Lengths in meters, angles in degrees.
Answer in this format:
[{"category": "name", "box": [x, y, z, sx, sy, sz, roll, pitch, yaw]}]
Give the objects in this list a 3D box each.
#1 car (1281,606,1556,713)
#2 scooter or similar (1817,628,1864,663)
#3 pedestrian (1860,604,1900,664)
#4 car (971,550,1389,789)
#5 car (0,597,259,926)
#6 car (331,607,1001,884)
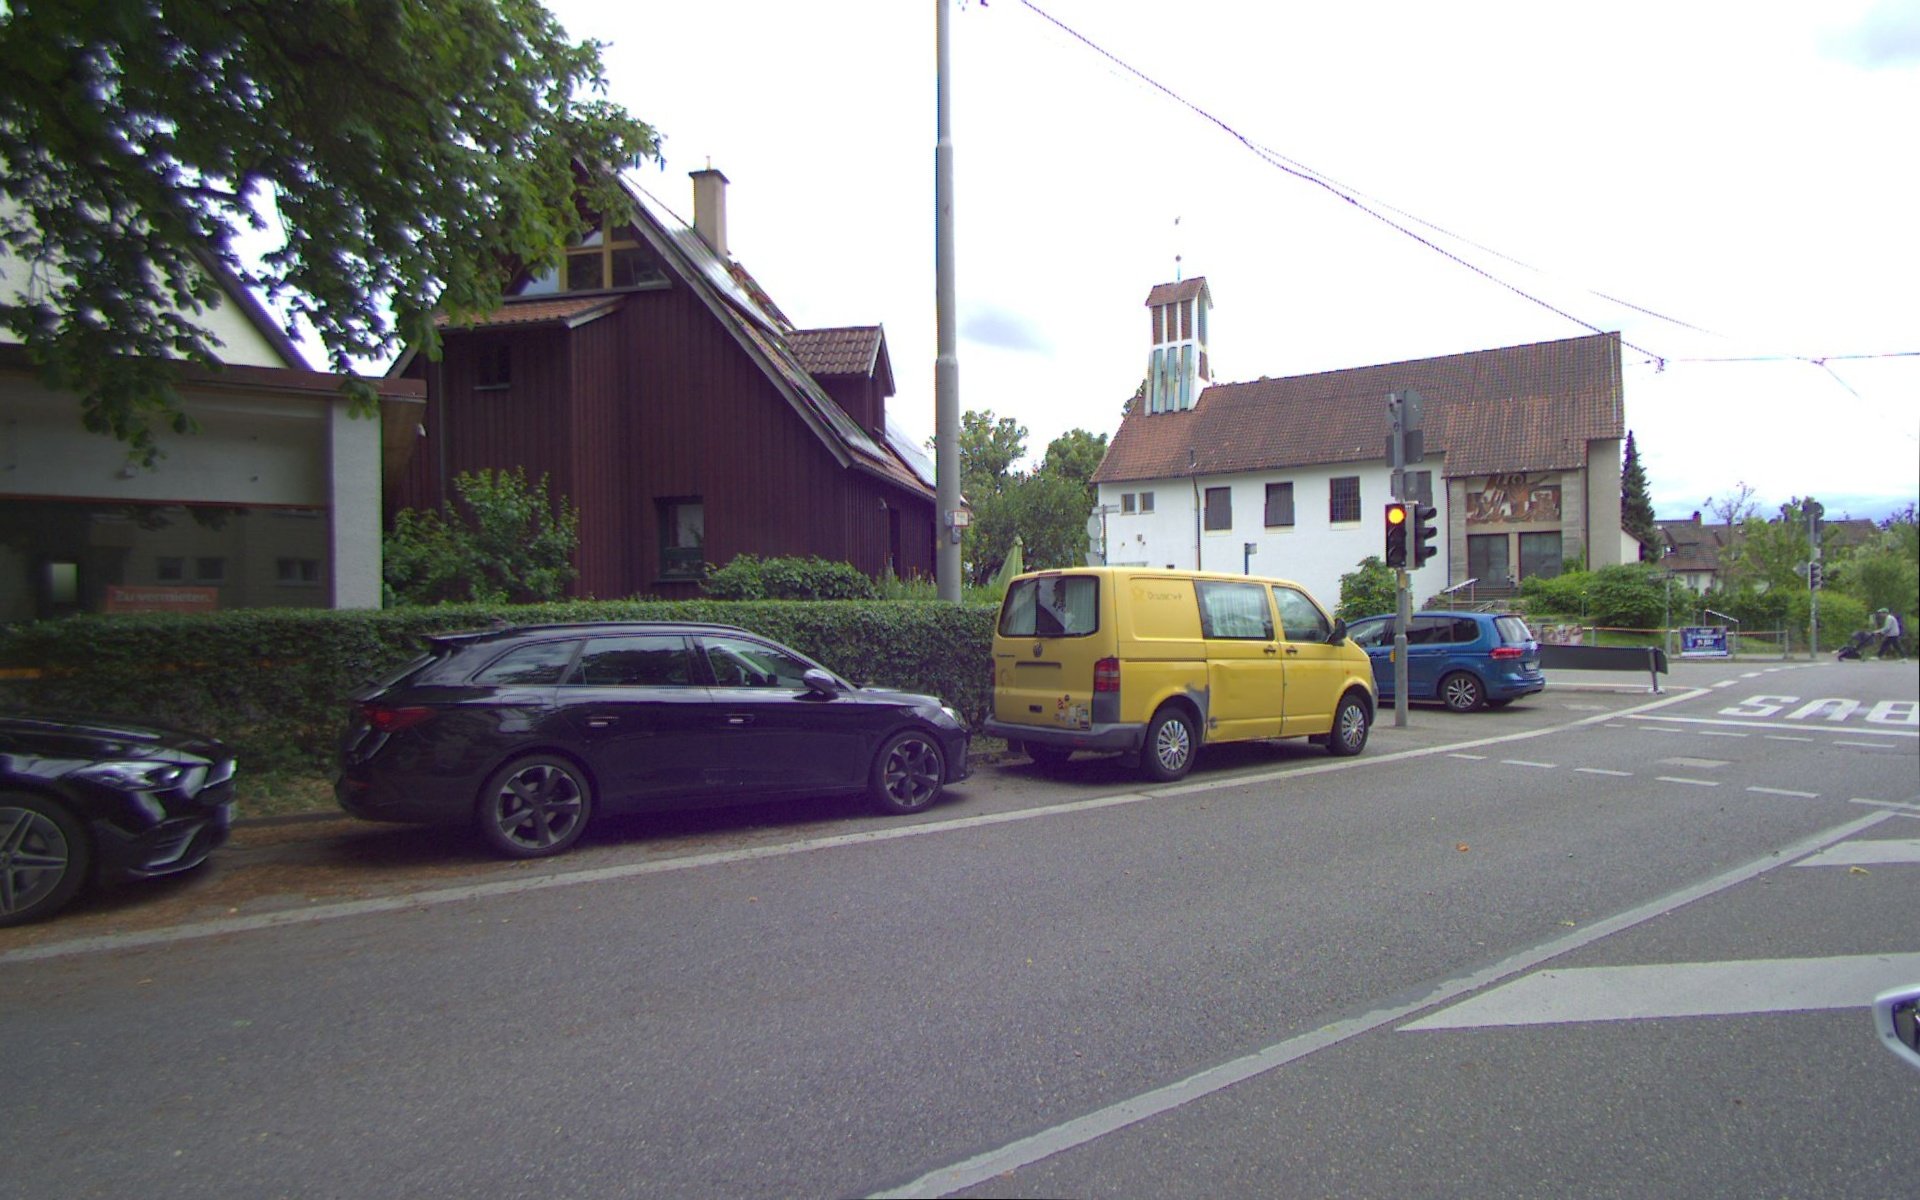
[{"category": "car", "box": [7.815, 0.986, 17.362, 1.806, 1.632, 3.948, 1, -3, -44]}, {"category": "scooter or similar", "box": [28.591, 1.470, 32.612, 0.574, 1.095, 1.097, 1, -2, -44]}, {"category": "pedestrian", "box": [29.255, 1.079, 31.943, 0.570, 1.887, 0.875, 1, -2, -44]}, {"category": "car", "box": [2.462, 0.642, 10.680, 4.523, 2.040, 1.870, 1, -2, -37]}, {"category": "car", "box": [-6.212, 0.757, 4.752, 4.561, 1.520, 1.984, 1, -2, -31]}, {"category": "car", "box": [-1.995, 0.840, 7.437, 4.494, 1.505, 1.681, 1, -2, -34]}]
